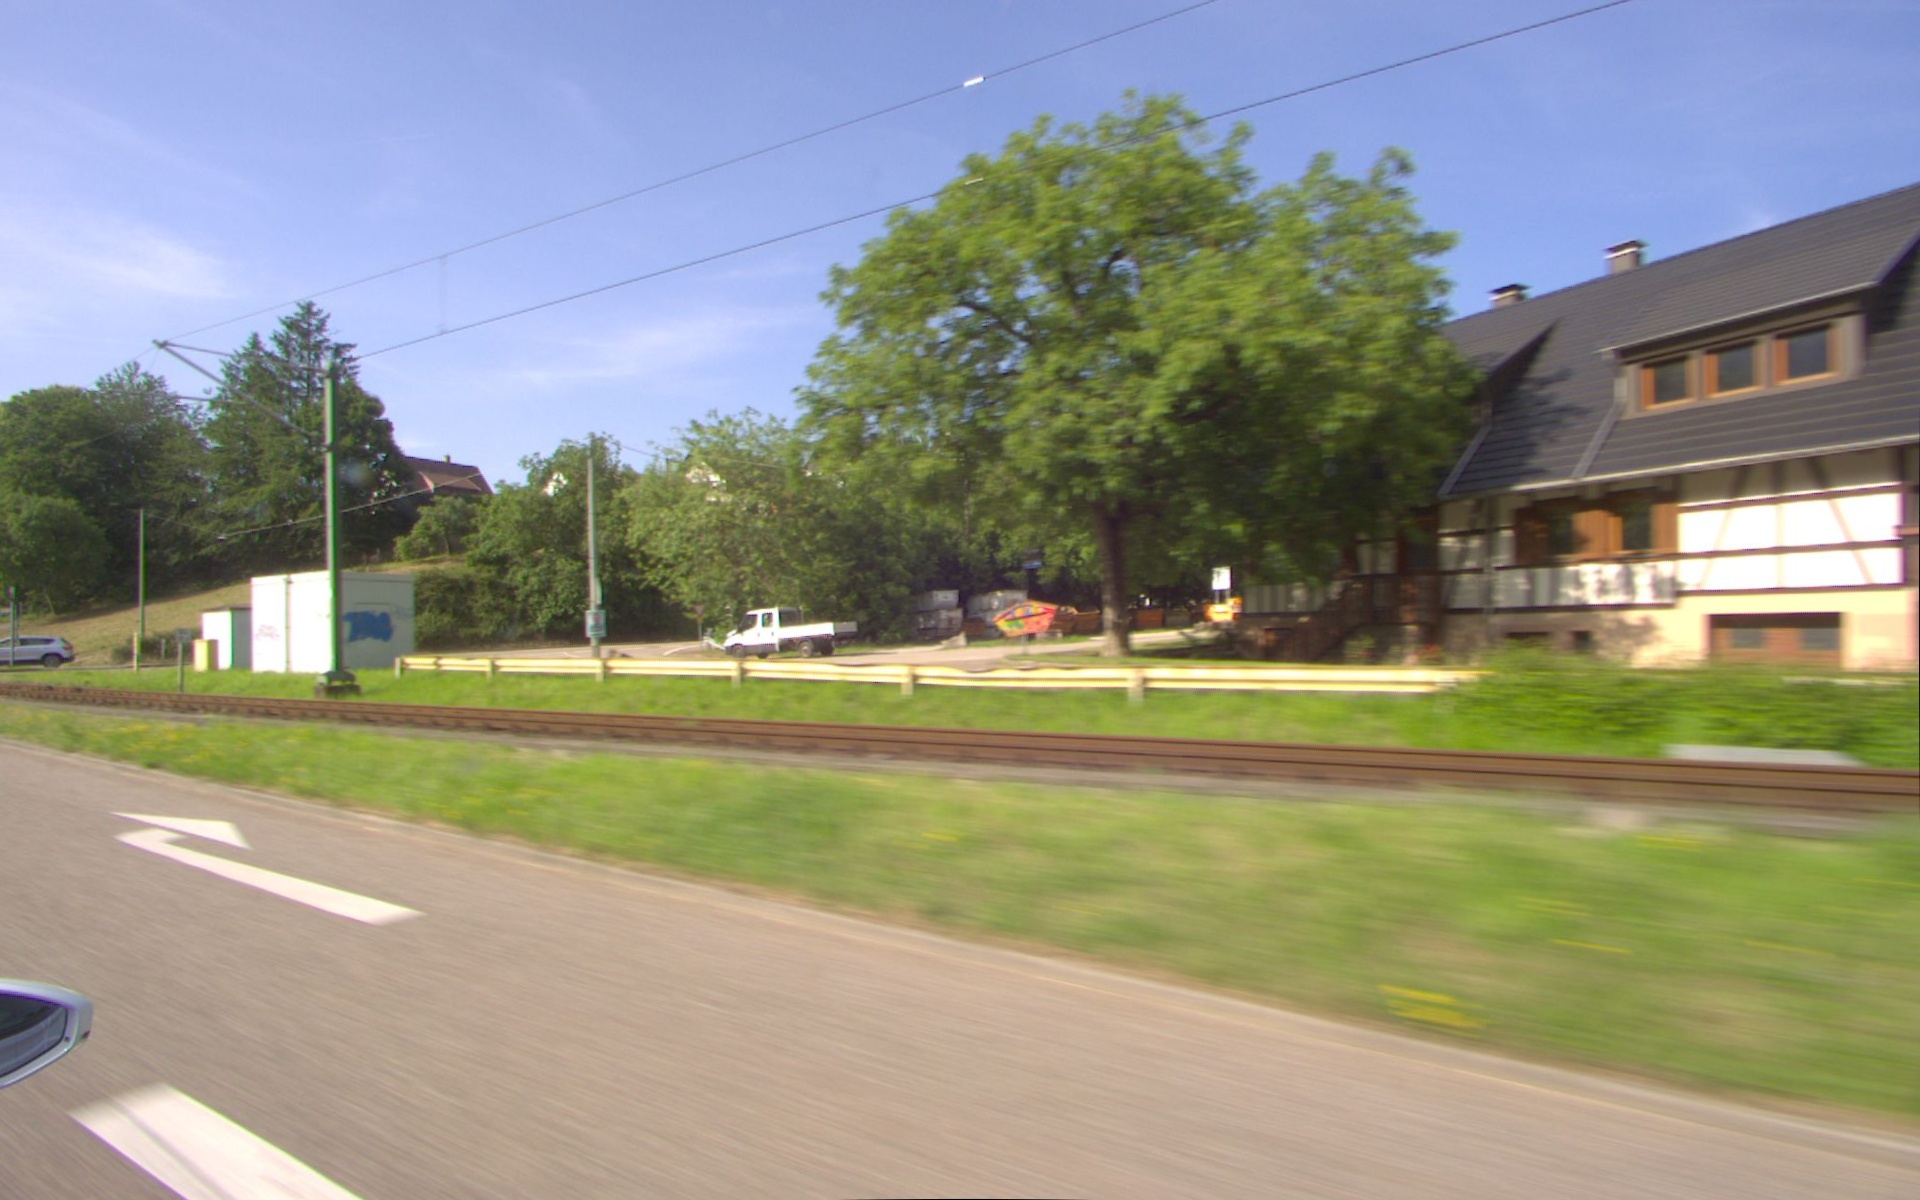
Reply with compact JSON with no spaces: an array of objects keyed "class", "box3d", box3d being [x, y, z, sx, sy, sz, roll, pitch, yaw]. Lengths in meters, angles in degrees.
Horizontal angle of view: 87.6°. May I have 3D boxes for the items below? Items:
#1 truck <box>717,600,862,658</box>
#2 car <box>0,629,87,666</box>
[{"class":"truck","box3d":[-7.497,1.286,43.997,5.839,2.261,2.401,-3,-1,23]},{"class":"car","box3d":[-44.789,2.261,48.211,4.086,1.708,1.818,2,-2,-43]}]
